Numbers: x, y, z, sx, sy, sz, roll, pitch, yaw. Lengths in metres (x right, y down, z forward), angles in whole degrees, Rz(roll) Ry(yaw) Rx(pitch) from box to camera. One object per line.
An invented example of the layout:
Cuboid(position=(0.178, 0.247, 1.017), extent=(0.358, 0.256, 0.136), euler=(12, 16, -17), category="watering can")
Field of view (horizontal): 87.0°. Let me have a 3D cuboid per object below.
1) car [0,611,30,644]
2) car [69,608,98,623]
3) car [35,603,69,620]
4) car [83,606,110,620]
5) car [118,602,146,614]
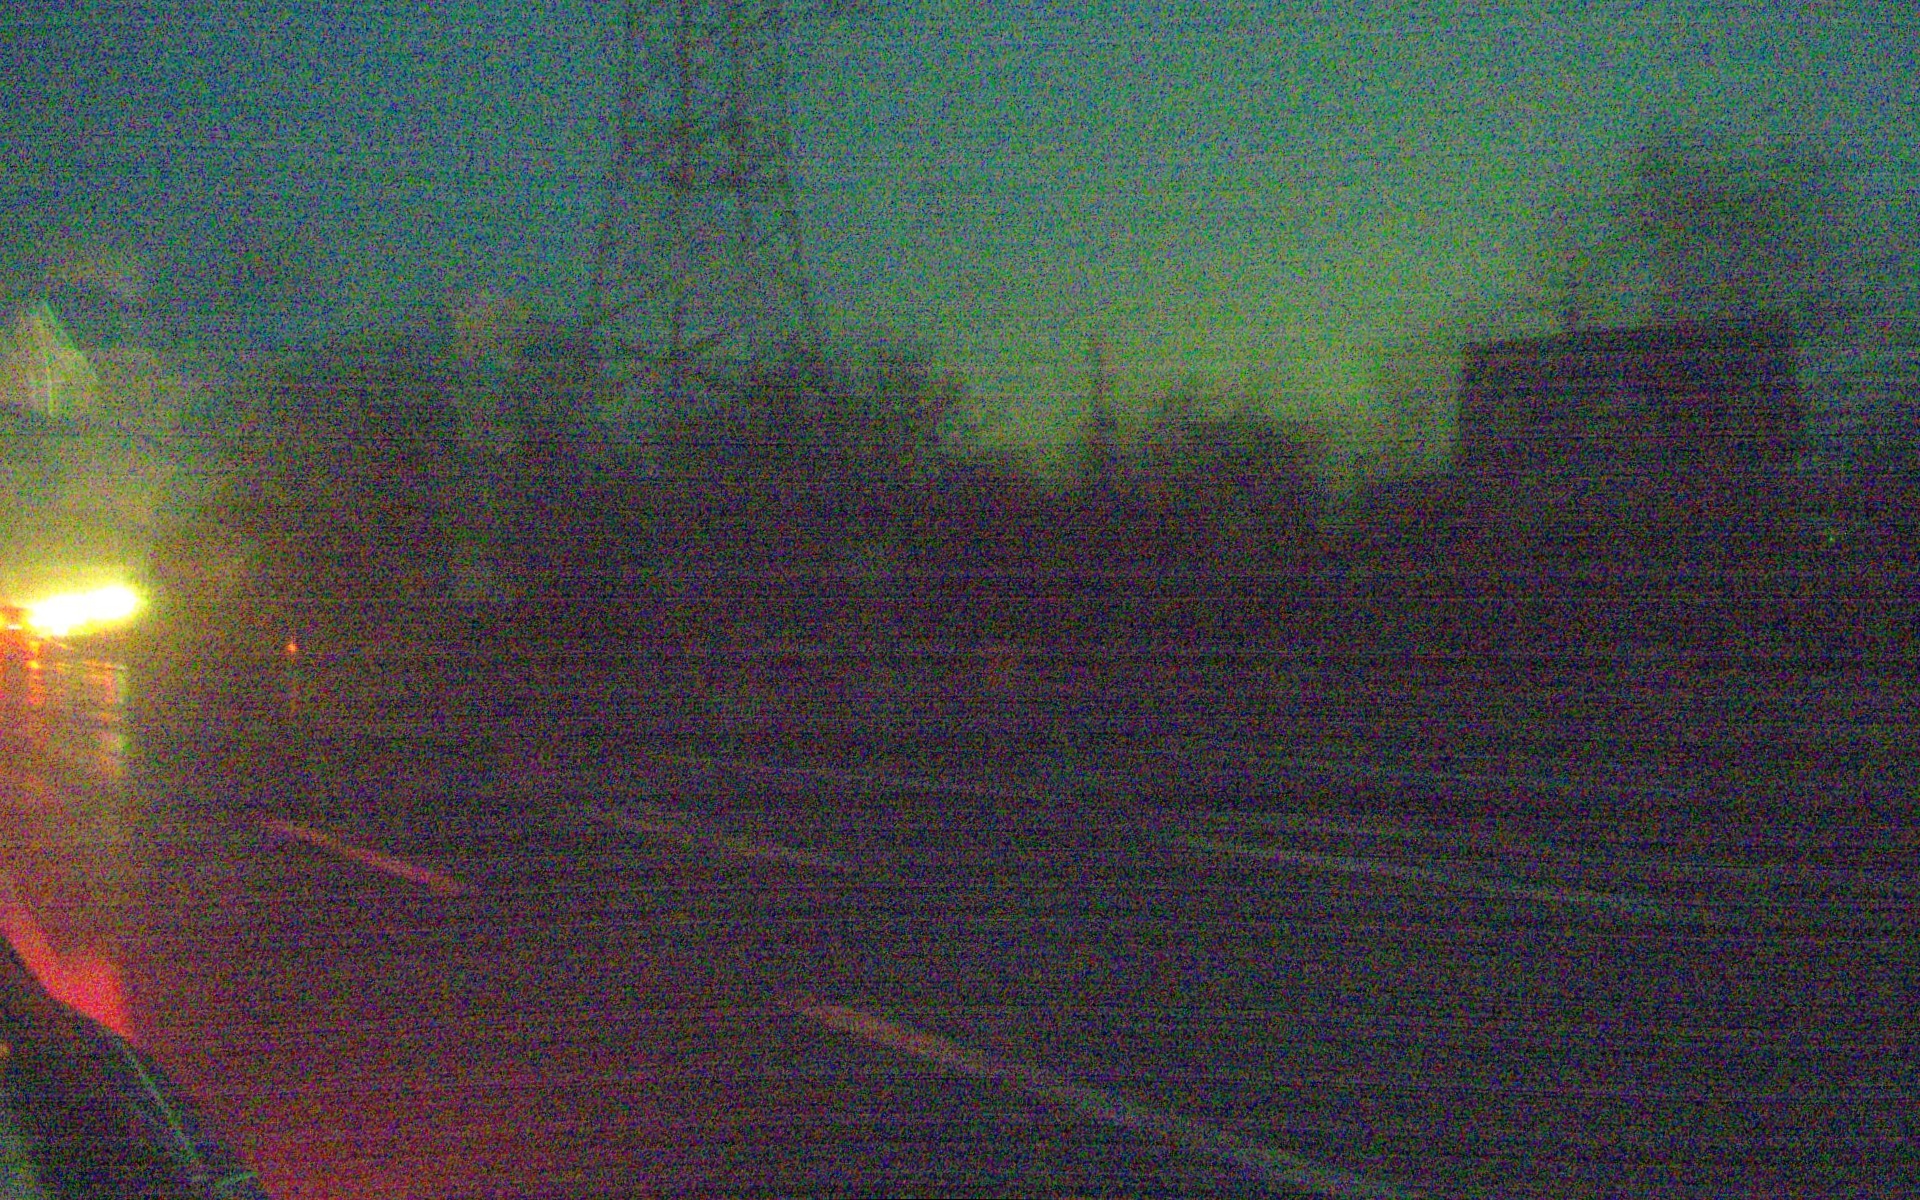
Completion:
Cuboid(position=(-53.772, 1.517, 57.067), extent=(1.838, 1.760, 4.966), euler=(0, 0, -44), category="car")
Cuboid(position=(-89.920, 1.552, 103.817), extent=(1.747, 1.399, 4.244), euler=(0, 0, -34), category="car")
Cuboid(position=(-80.693, 0.998, 89.983), extent=(1.747, 1.399, 4.243), euler=(0, 0, -35), category="car")
Cuboid(position=(-95.310, 1.404, 111.724), extent=(1.747, 1.399, 4.124), euler=(0, 0, -34), category="car")
Cuboid(position=(-105.065, 0.970, 128.506), extent=(1.746, 1.495, 4.395), euler=(0, 0, -26), category="car")
